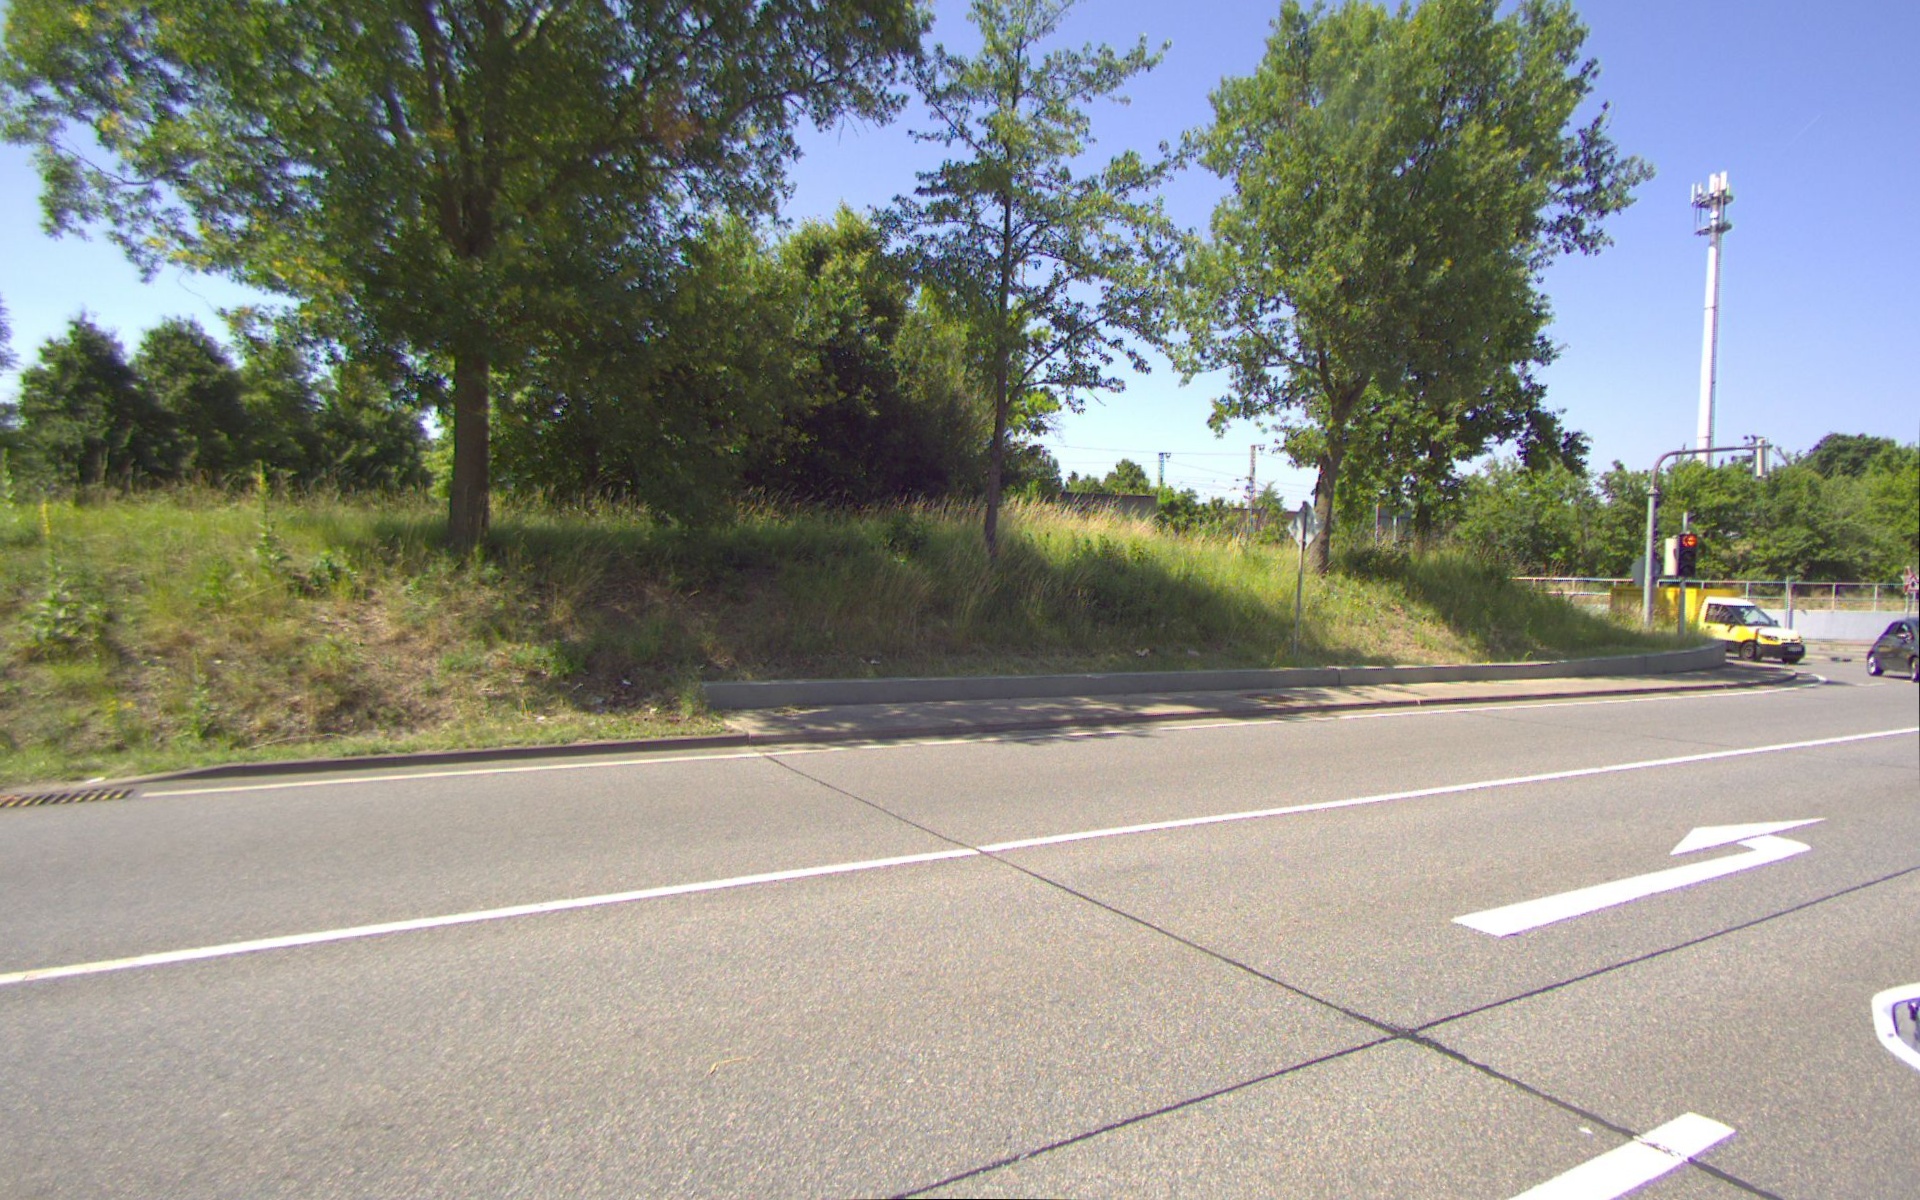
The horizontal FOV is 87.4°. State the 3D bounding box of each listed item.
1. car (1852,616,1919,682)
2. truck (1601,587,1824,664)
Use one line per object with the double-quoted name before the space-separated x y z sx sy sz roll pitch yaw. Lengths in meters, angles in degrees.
"car" 23.616 1.176 24.522 1.561 1.489 3.599 1 0 22
"truck" 24.566 0.748 33.182 1.950 2.305 6.008 1 0 -13
